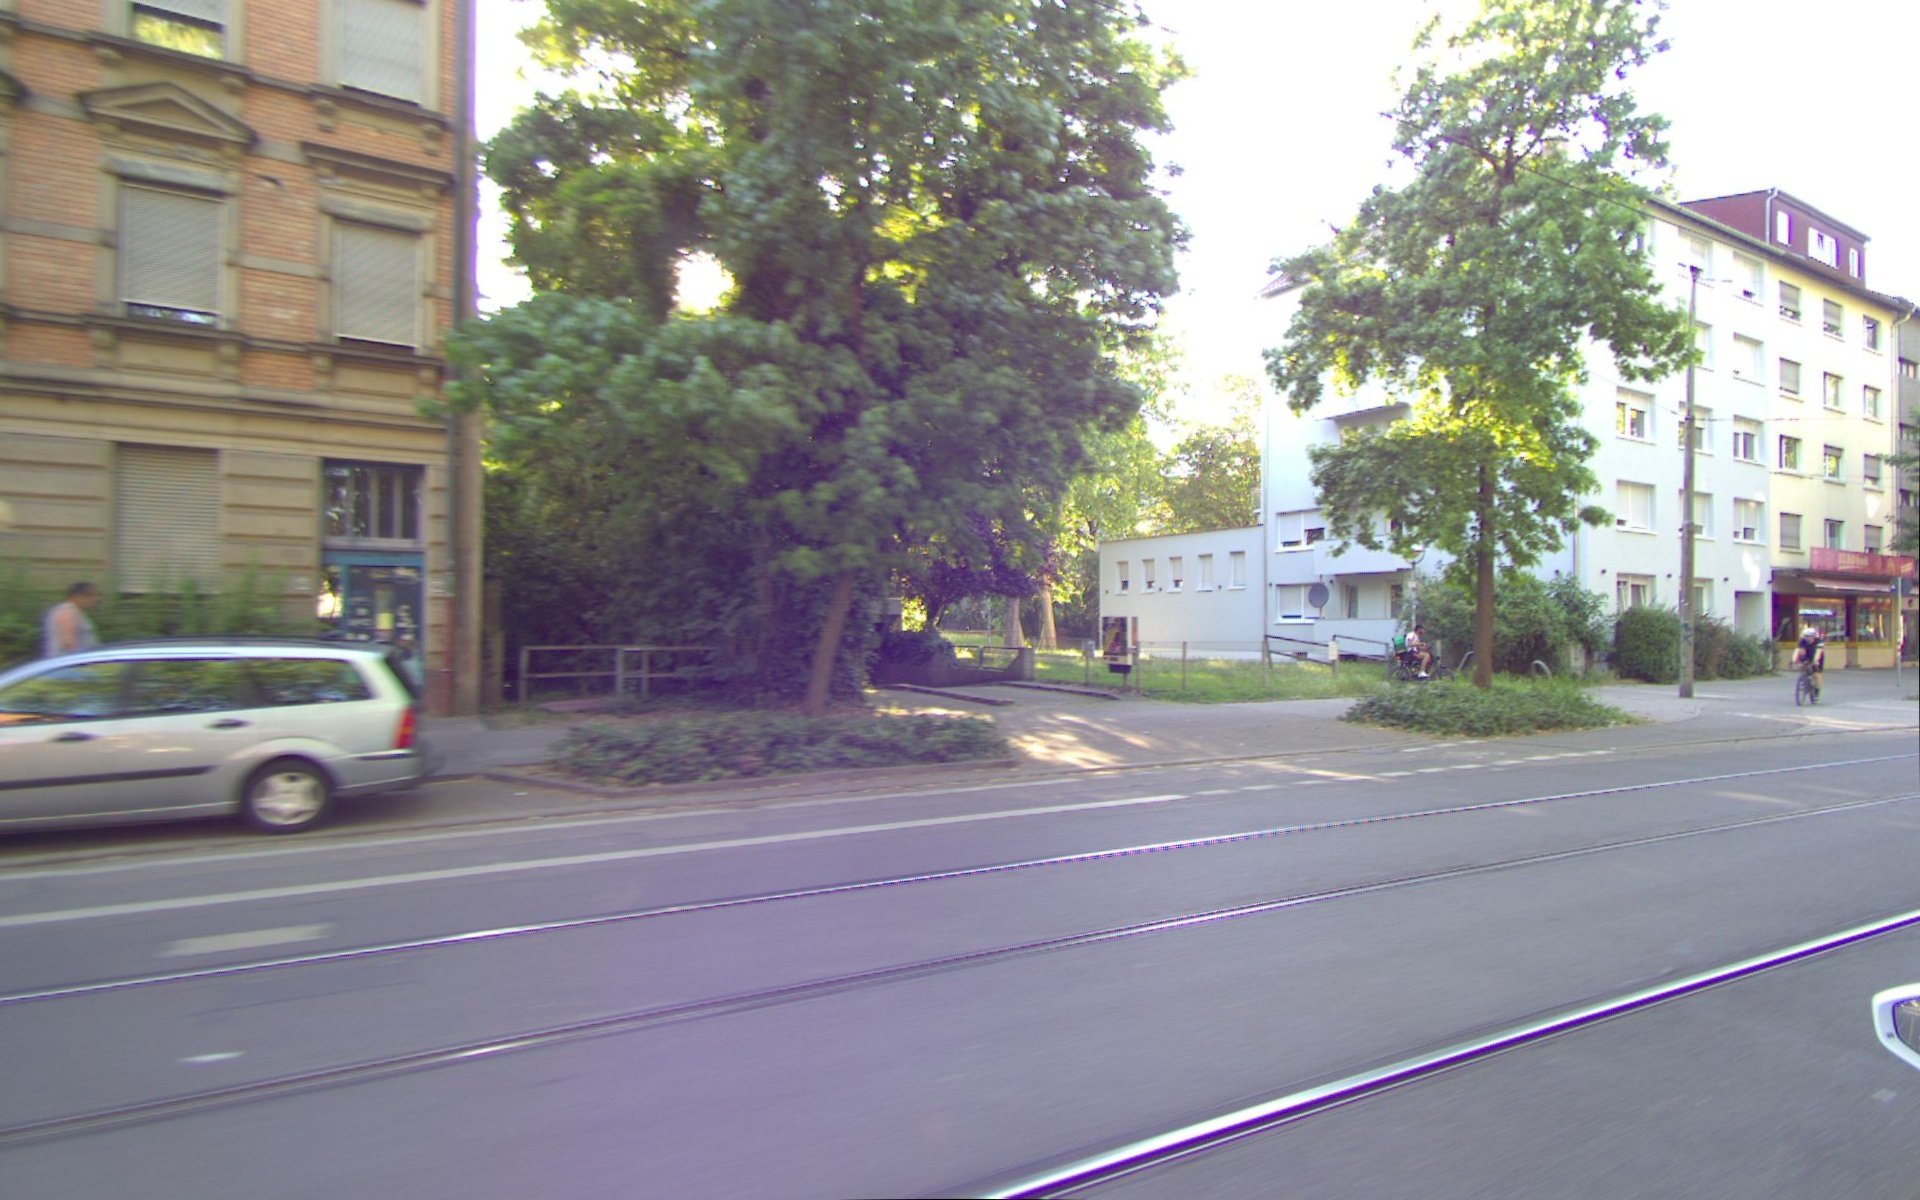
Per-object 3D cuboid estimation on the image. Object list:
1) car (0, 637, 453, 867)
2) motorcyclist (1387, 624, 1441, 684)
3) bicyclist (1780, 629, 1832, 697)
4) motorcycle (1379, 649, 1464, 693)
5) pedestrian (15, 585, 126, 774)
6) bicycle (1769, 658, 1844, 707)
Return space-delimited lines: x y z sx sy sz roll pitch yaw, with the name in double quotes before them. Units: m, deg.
"car" -6.569 1.095 8.016 4.478 1.571 1.693 1 -1 -28
"motorcyclist" 11.371 1.342 25.186 0.592 1.468 1.091 2 -2 -41
"bicyclist" 18.717 1.387 22.224 0.827 1.474 0.638 1 -2 -31
"motorcycle" 11.483 1.751 25.047 0.592 1.046 1.855 2 -2 -41
"pedestrian" -9.221 0.790 10.444 0.720 1.872 0.737 1 0 -32
"bicycle" 18.714 1.802 22.198 2.077 1.000 0.638 1 -3 -31
